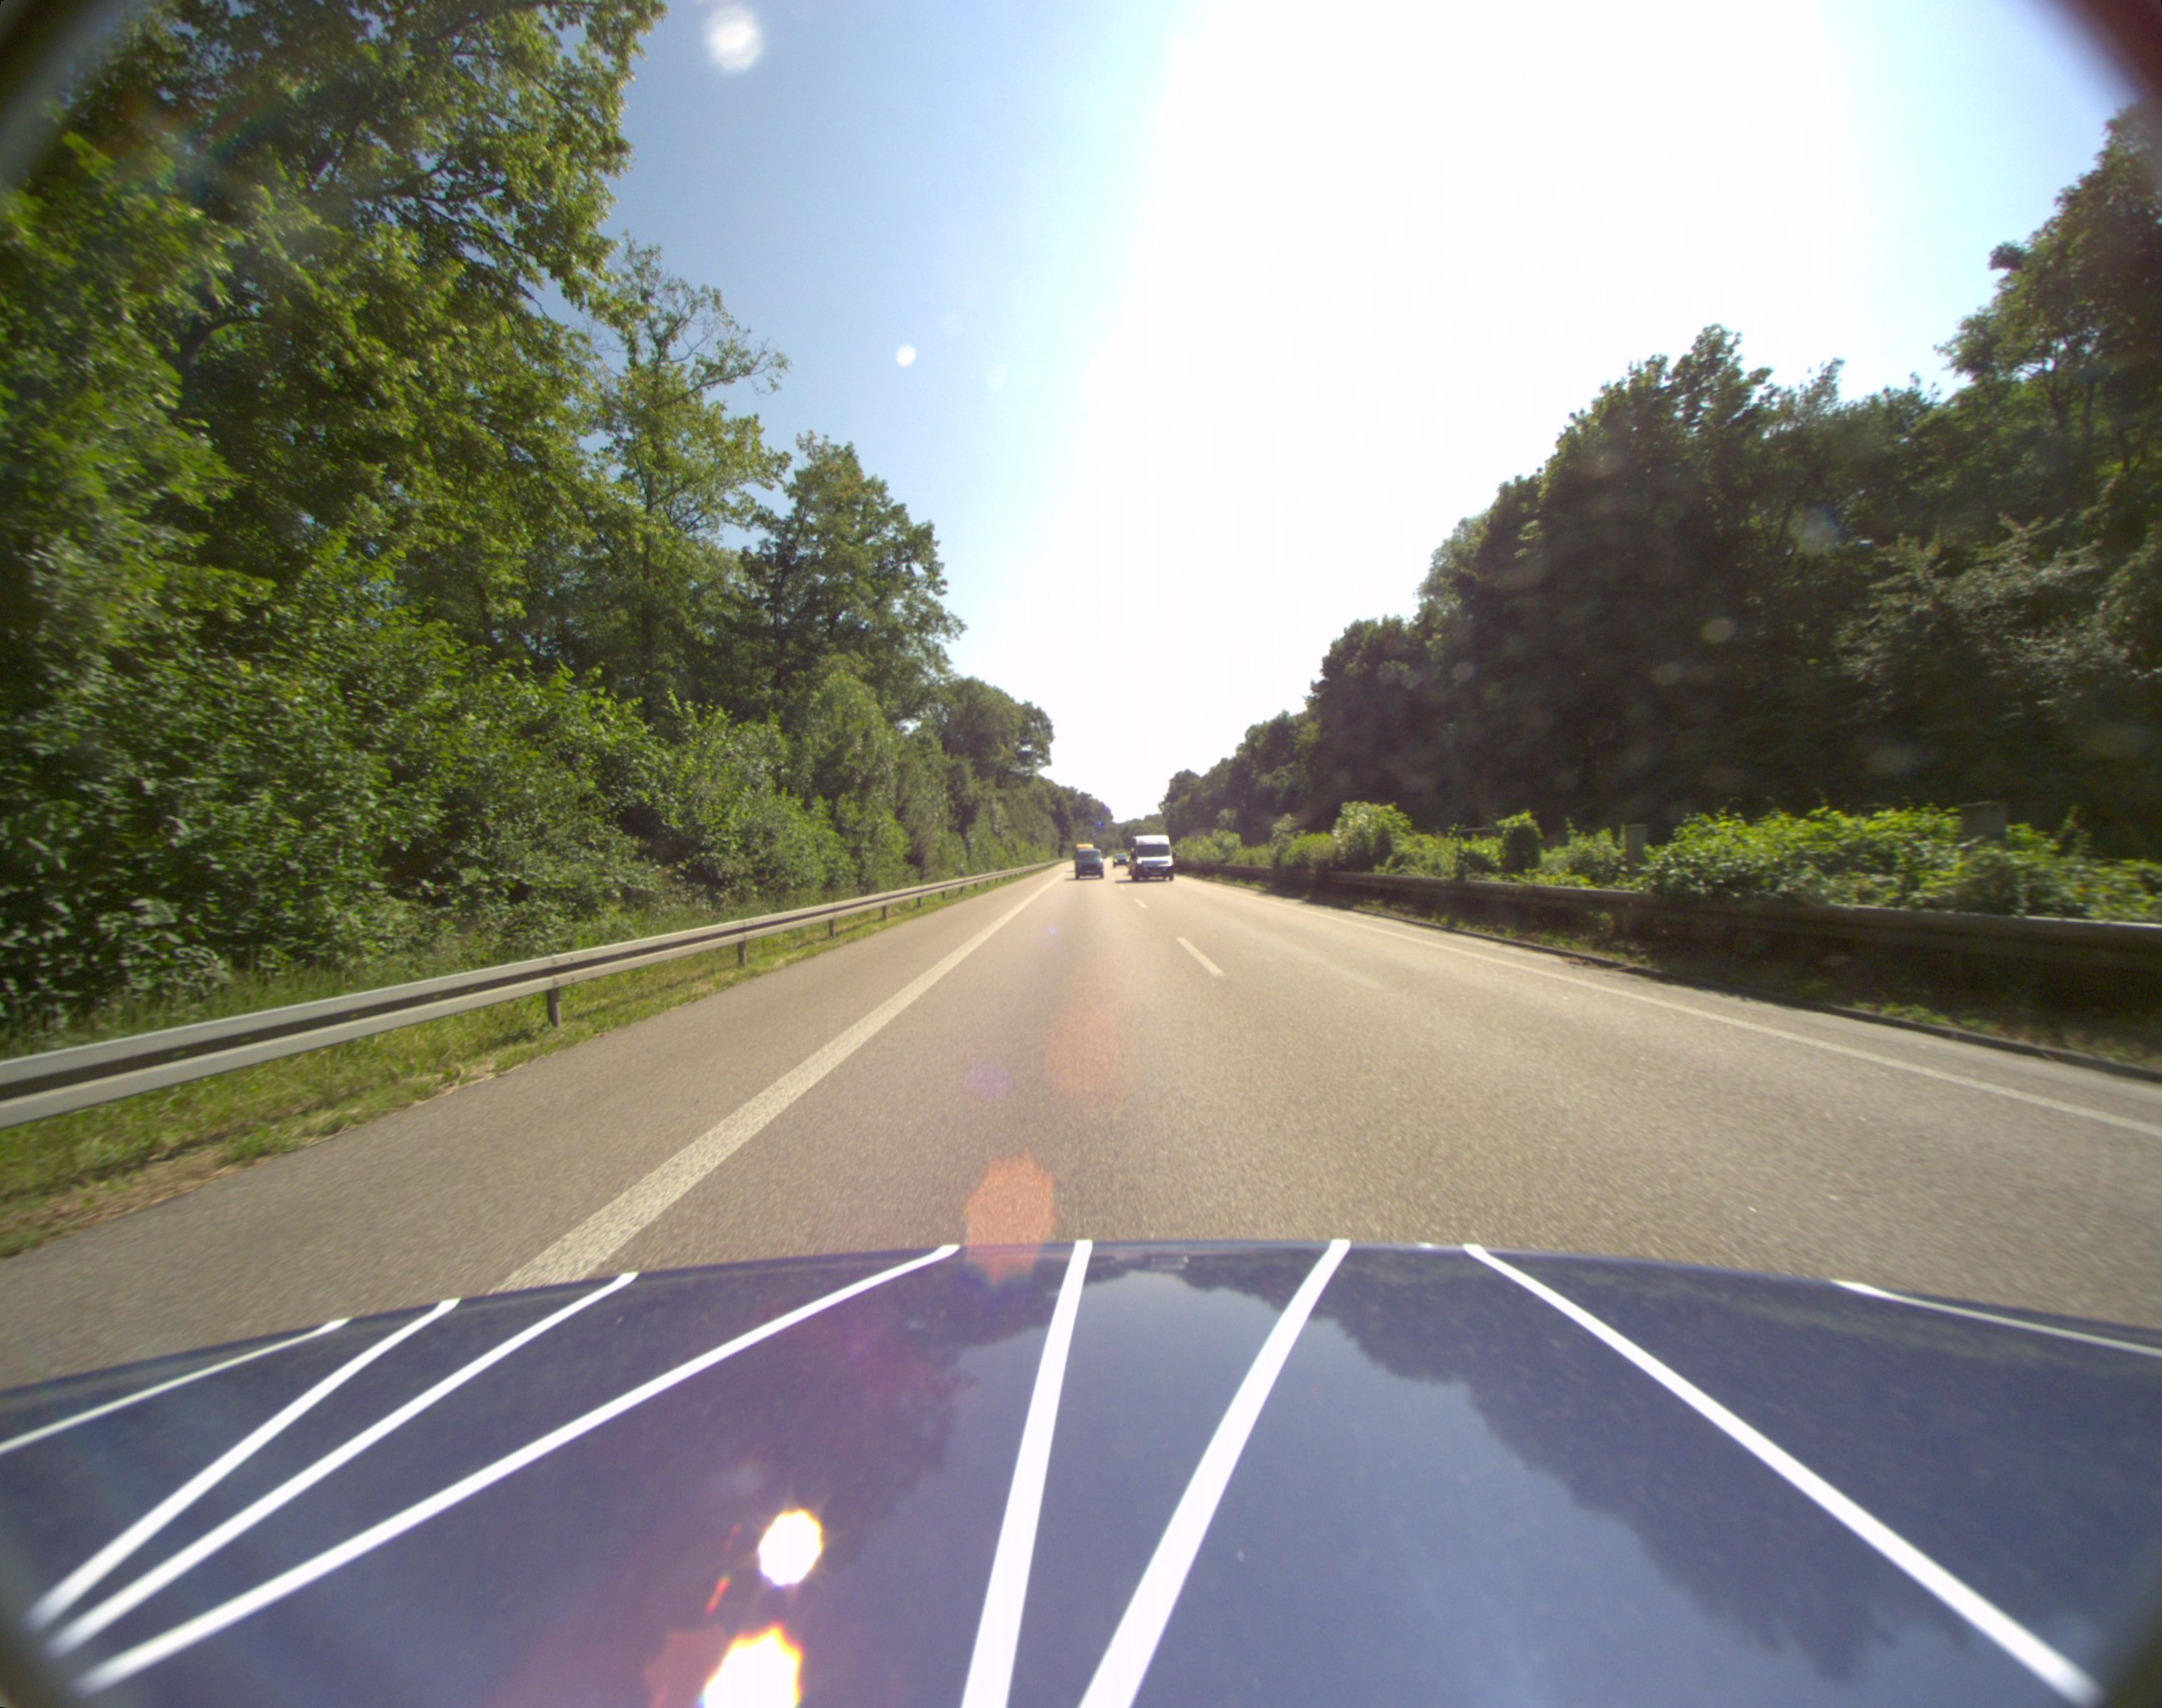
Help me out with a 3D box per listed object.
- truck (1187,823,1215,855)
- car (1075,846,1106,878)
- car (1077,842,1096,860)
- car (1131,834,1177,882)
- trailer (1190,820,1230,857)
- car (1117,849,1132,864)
[{"bbox_3d":[16.504,-2.007,104.537,2.724,4.219,6.536,-2,1,1],"label":"truck"},{"bbox_3d":[0.628,0.492,49.252,1.812,1.921,4.581,-2,1,1],"label":"car"},{"bbox_3d":[0.603,-0.313,74.906,1.737,1.624,3.899,-2,1,1],"label":"car"},{"bbox_3d":[3.943,0.186,41.742,2.046,2.429,4.637,-2,1,1],"label":"car"},{"bbox_3d":[16.436,-1.922,97.809,2.836,4.275,13.662,-2,1,1],"label":"trailer"},{"bbox_3d":[4.887,0.287,86.409,1.517,1.624,3.611,-2,1,1],"label":"car"}]
